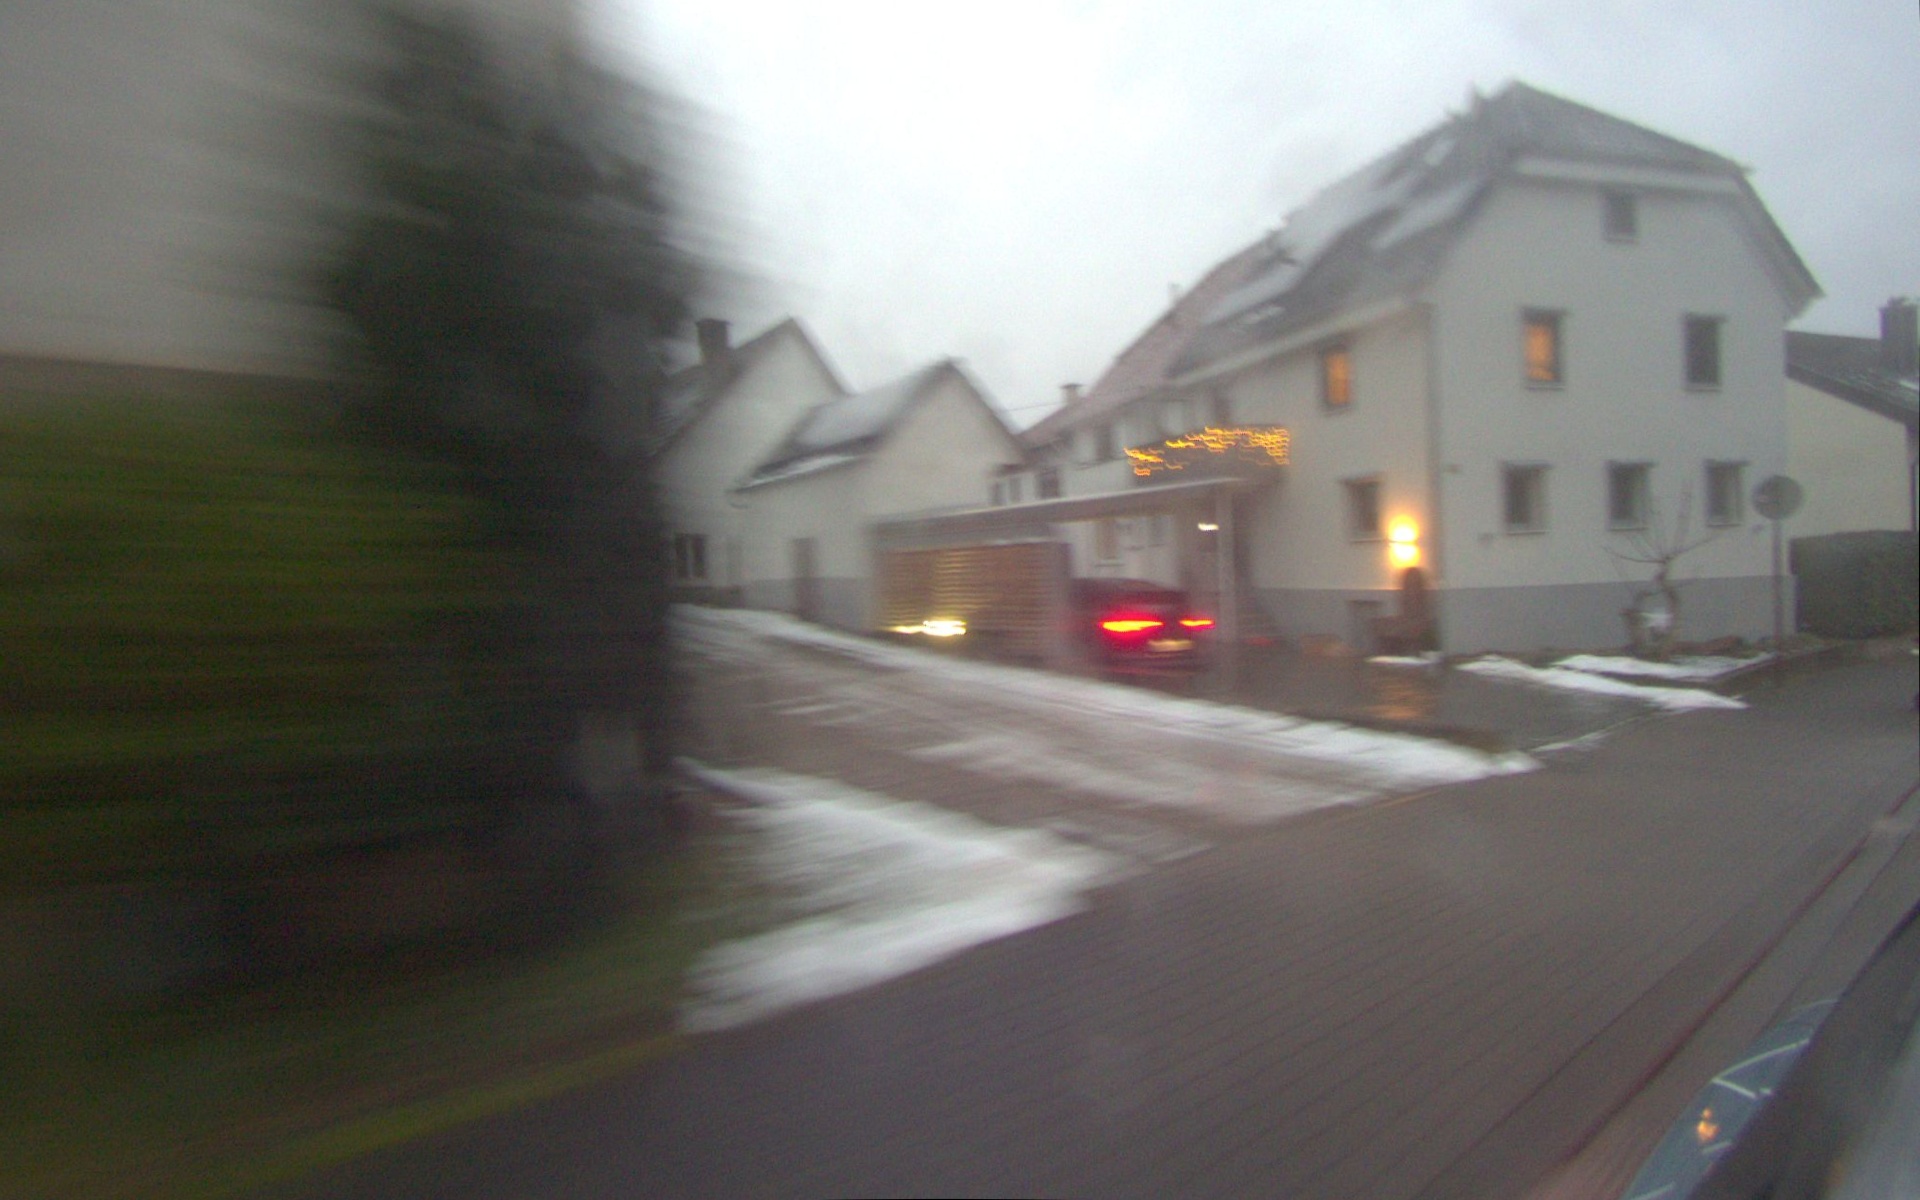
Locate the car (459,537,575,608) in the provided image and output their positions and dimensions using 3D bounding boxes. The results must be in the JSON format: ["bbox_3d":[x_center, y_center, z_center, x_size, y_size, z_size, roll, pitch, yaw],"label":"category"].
[{"bbox_3d":[-12.502,-0.736,28.437,1.679,1.654,3.989,-2,-1,-43],"label":"car"}]

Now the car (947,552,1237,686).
[{"bbox_3d":[1.743,0.294,14.575,1.962,1.639,3.999,1,-2,-35],"label":"car"}]

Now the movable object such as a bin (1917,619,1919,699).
[{"bbox_3d":[11.718,0.688,11.837,0.673,0.928,0.639,-1,0,-36],"label":"movable object such as a bin"}]
